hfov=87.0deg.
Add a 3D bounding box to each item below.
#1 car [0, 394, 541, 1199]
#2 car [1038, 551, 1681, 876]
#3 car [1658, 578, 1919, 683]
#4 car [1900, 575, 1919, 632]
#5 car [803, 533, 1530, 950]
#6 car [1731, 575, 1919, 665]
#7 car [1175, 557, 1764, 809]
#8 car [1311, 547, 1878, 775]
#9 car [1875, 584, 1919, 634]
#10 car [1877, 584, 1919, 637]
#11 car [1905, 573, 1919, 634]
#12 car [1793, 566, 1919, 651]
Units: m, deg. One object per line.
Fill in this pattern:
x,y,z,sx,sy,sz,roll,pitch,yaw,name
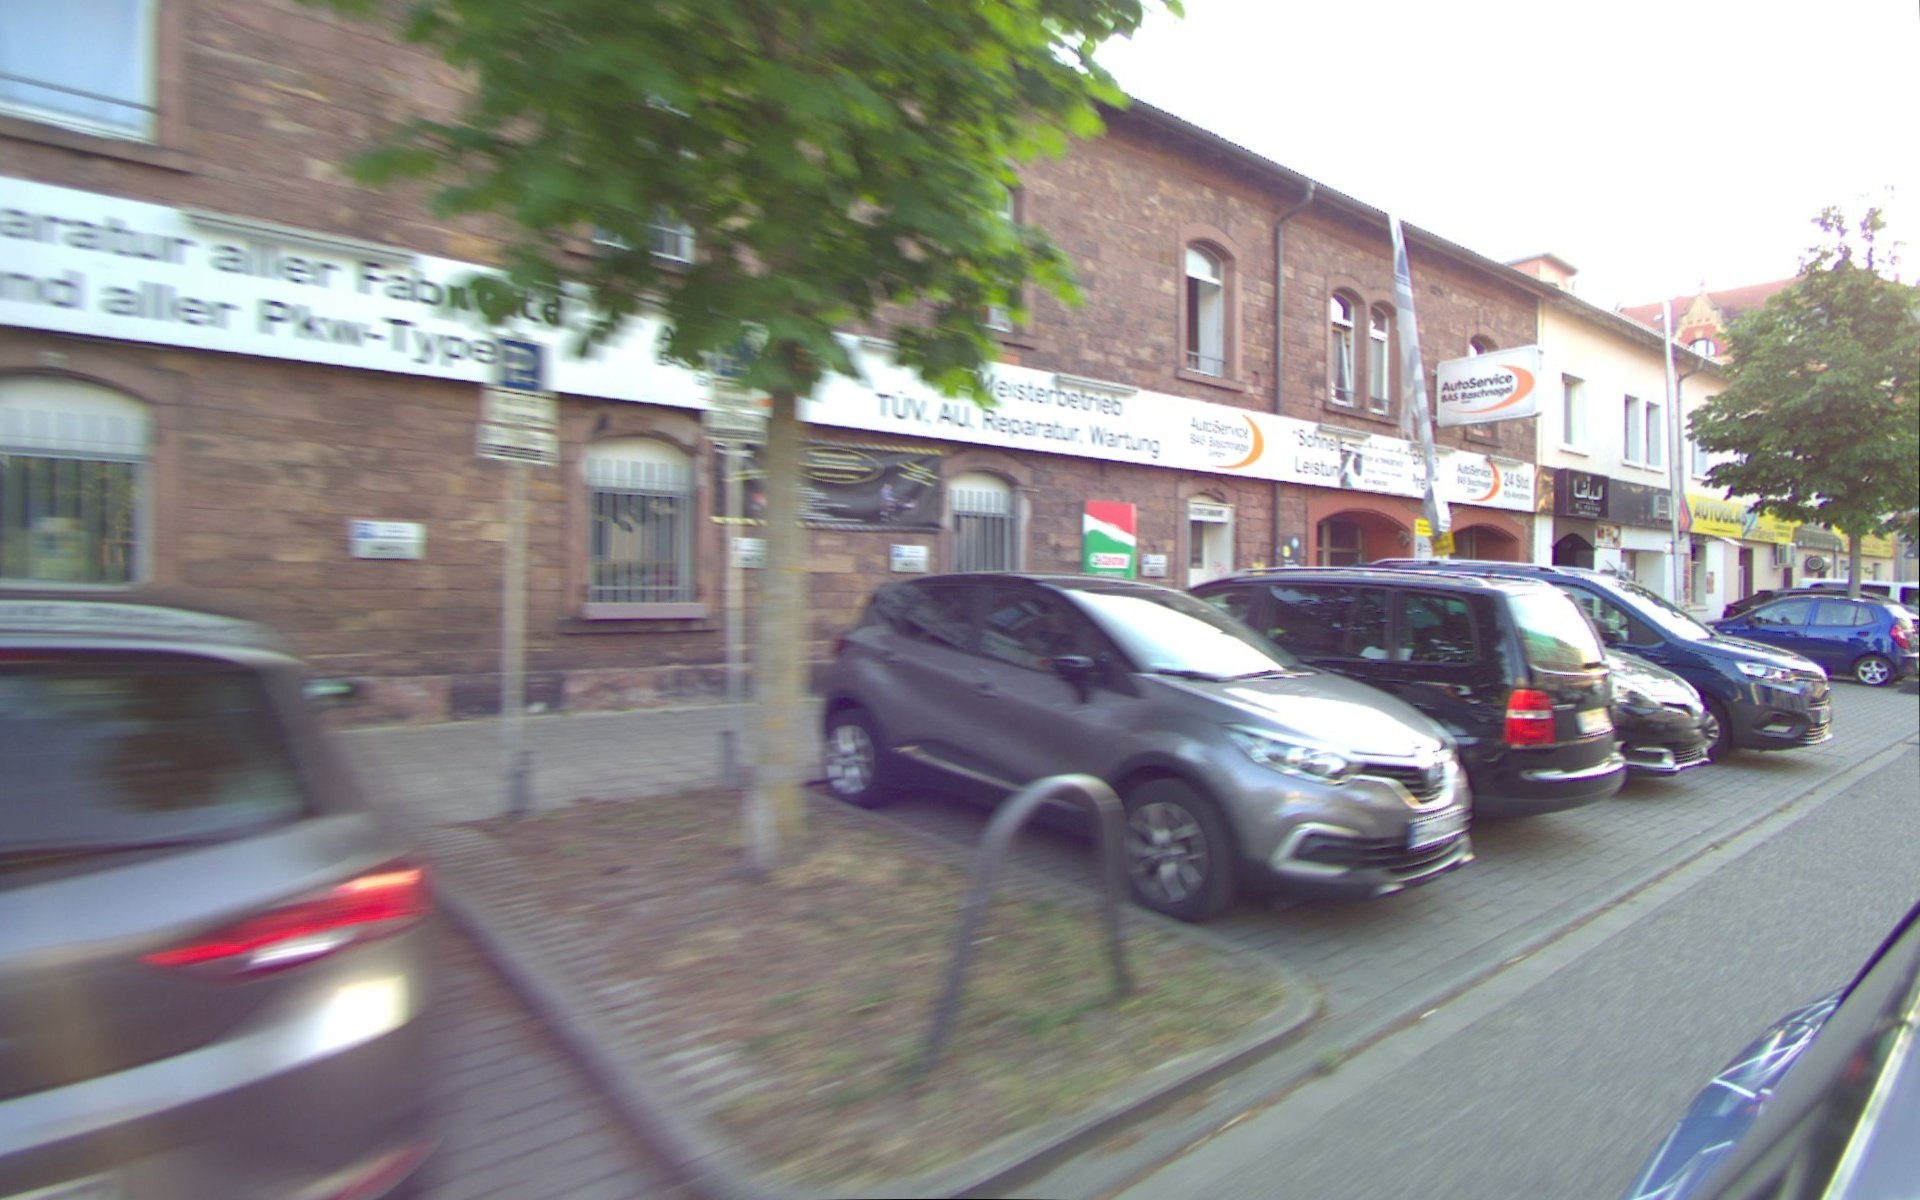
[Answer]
-2.696,0.463,2.862,1.744,1.529,3.996,0,1,-39,car
2.656,0.525,7.501,1.861,1.638,3.997,0,4,-40,car
16.022,0.479,19.350,1.811,1.564,4.000,0,5,-38,car
33.599,0.220,32.726,1.962,1.881,4.308,0,3,-34,car
0.880,0.512,5.947,1.789,1.585,3.953,0,1,-40,car
19.879,0.440,21.861,1.962,1.651,4.712,0,4,-36,car
4.417,0.520,9.405,1.946,1.594,4.426,1,4,-40,car
6.576,0.432,11.053,1.981,1.775,4.800,1,3,-39,car
31.419,0.369,31.004,1.964,1.514,4.735,0,3,-38,car
29.349,0.383,29.378,1.650,1.514,3.796,0,3,-39,car
35.687,0.138,34.301,2.109,2.127,4.979,-1,1,-33,car
23.825,0.272,24.970,1.974,1.883,4.605,0,6,-36,car
